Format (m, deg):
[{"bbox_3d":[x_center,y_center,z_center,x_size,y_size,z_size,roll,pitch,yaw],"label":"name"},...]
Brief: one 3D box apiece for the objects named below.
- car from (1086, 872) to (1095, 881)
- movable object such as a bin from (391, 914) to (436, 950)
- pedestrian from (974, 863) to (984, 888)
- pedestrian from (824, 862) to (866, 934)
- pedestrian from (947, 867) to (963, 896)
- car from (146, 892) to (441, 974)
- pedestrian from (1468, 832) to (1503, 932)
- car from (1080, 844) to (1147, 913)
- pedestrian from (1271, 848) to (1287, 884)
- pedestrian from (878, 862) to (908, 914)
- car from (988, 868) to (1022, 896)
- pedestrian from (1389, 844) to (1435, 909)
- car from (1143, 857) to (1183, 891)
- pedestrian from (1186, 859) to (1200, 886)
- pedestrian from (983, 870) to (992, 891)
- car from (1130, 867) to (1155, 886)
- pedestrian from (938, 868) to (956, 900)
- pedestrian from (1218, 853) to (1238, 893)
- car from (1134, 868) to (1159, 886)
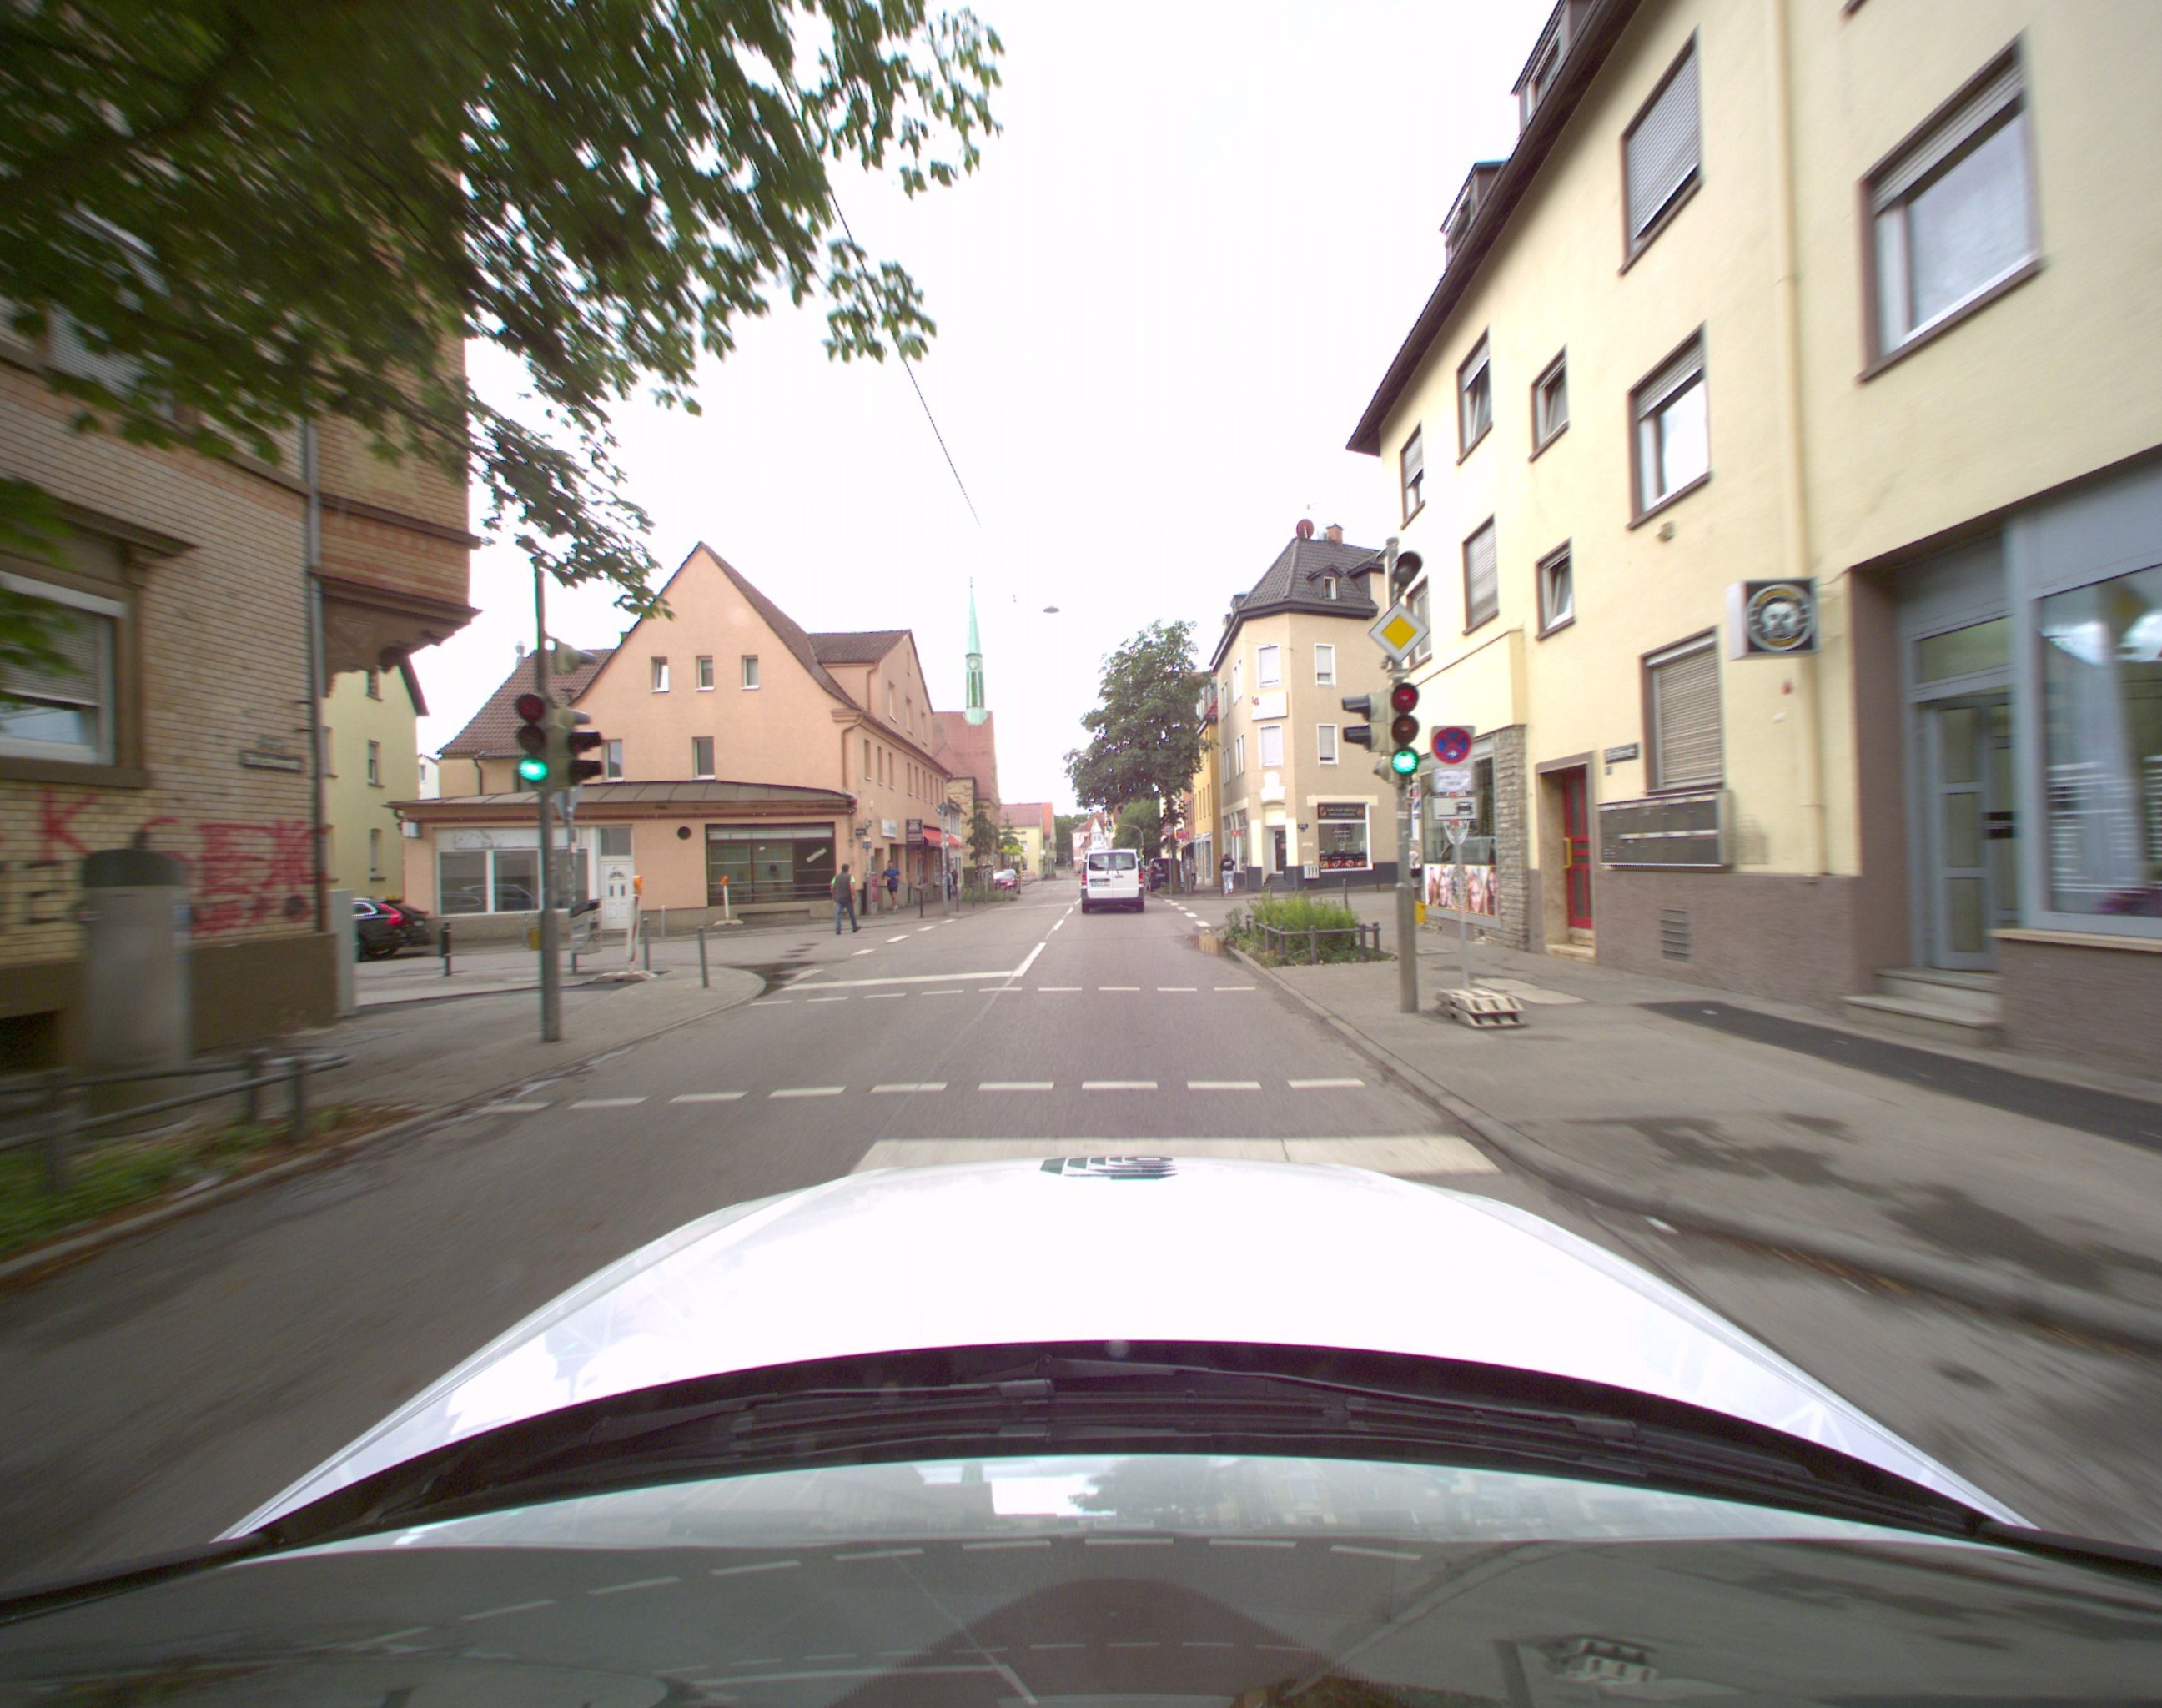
[{"bbox_3d":[2.193,5.103,183.693,1.929,2.014,3.998,-1,-2,-1],"label":"car"},{"bbox_3d":[-17.806,2.074,21.728,0.723,0.878,0.569,-3,-2,2],"label":"movable object such as a bin"},{"bbox_3d":[-7.581,1.622,60.620,0.569,1.848,0.697,1,-1,1],"label":"pedestrian"},{"bbox_3d":[-5.909,1.087,20.458,0.736,1.754,0.982,-1,-1,0],"label":"pedestrian"},{"bbox_3d":[-7.391,1.603,47.786,0.733,1.628,0.752,-1,-1,-23],"label":"pedestrian"},{"bbox_3d":[-17.622,1.713,18.535,4.390,1.444,1.898,-2,-1,-21],"label":"car"},{"bbox_3d":[7.297,0.498,14.693,0.398,1.774,0.383,0,-2,-32],"label":"pedestrian"},{"bbox_3d":[0.983,0.745,25.317,1.866,1.912,4.001,-2,-1,1],"label":"car"},{"bbox_3d":[8.624,0.511,35.441,0.565,1.561,0.521,-1,-2,1],"label":"pedestrian"},{"bbox_3d":[-6.371,1.140,27.663,0.736,1.718,1.156,-1,-1,-2],"label":"pedestrian"},{"bbox_3d":[-4.830,1.762,52.303,1.697,1.574,4.449,-4,-1,0],"label":"car"},{"bbox_3d":[8.689,0.601,21.400,0.679,1.664,0.792,-1,-2,-35],"label":"pedestrian"},{"bbox_3d":[4.694,1.163,47.168,1.814,1.781,4.400,-1,-2,-1],"label":"car"},{"bbox_3d":[7.132,1.162,51.800,0.699,1.649,0.888,-3,-1,0],"label":"pedestrian"},{"bbox_3d":[-6.879,1.969,59.912,0.569,1.554,0.697,0,-1,1],"label":"pedestrian"},{"bbox_3d":[5.171,1.919,68.901,1.706,1.560,3.784,-1,-1,-1],"label":"car"},{"bbox_3d":[-6.547,1.474,39.831,0.736,1.535,0.982,-1,-1,-1],"label":"pedestrian"},{"bbox_3d":[6.147,0.789,34.052,0.612,1.653,0.982,-2,-1,0],"label":"pedestrian"},{"bbox_3d":[5.149,1.793,64.299,1.546,1.333,3.810,-1,-1,0],"label":"car"}]
